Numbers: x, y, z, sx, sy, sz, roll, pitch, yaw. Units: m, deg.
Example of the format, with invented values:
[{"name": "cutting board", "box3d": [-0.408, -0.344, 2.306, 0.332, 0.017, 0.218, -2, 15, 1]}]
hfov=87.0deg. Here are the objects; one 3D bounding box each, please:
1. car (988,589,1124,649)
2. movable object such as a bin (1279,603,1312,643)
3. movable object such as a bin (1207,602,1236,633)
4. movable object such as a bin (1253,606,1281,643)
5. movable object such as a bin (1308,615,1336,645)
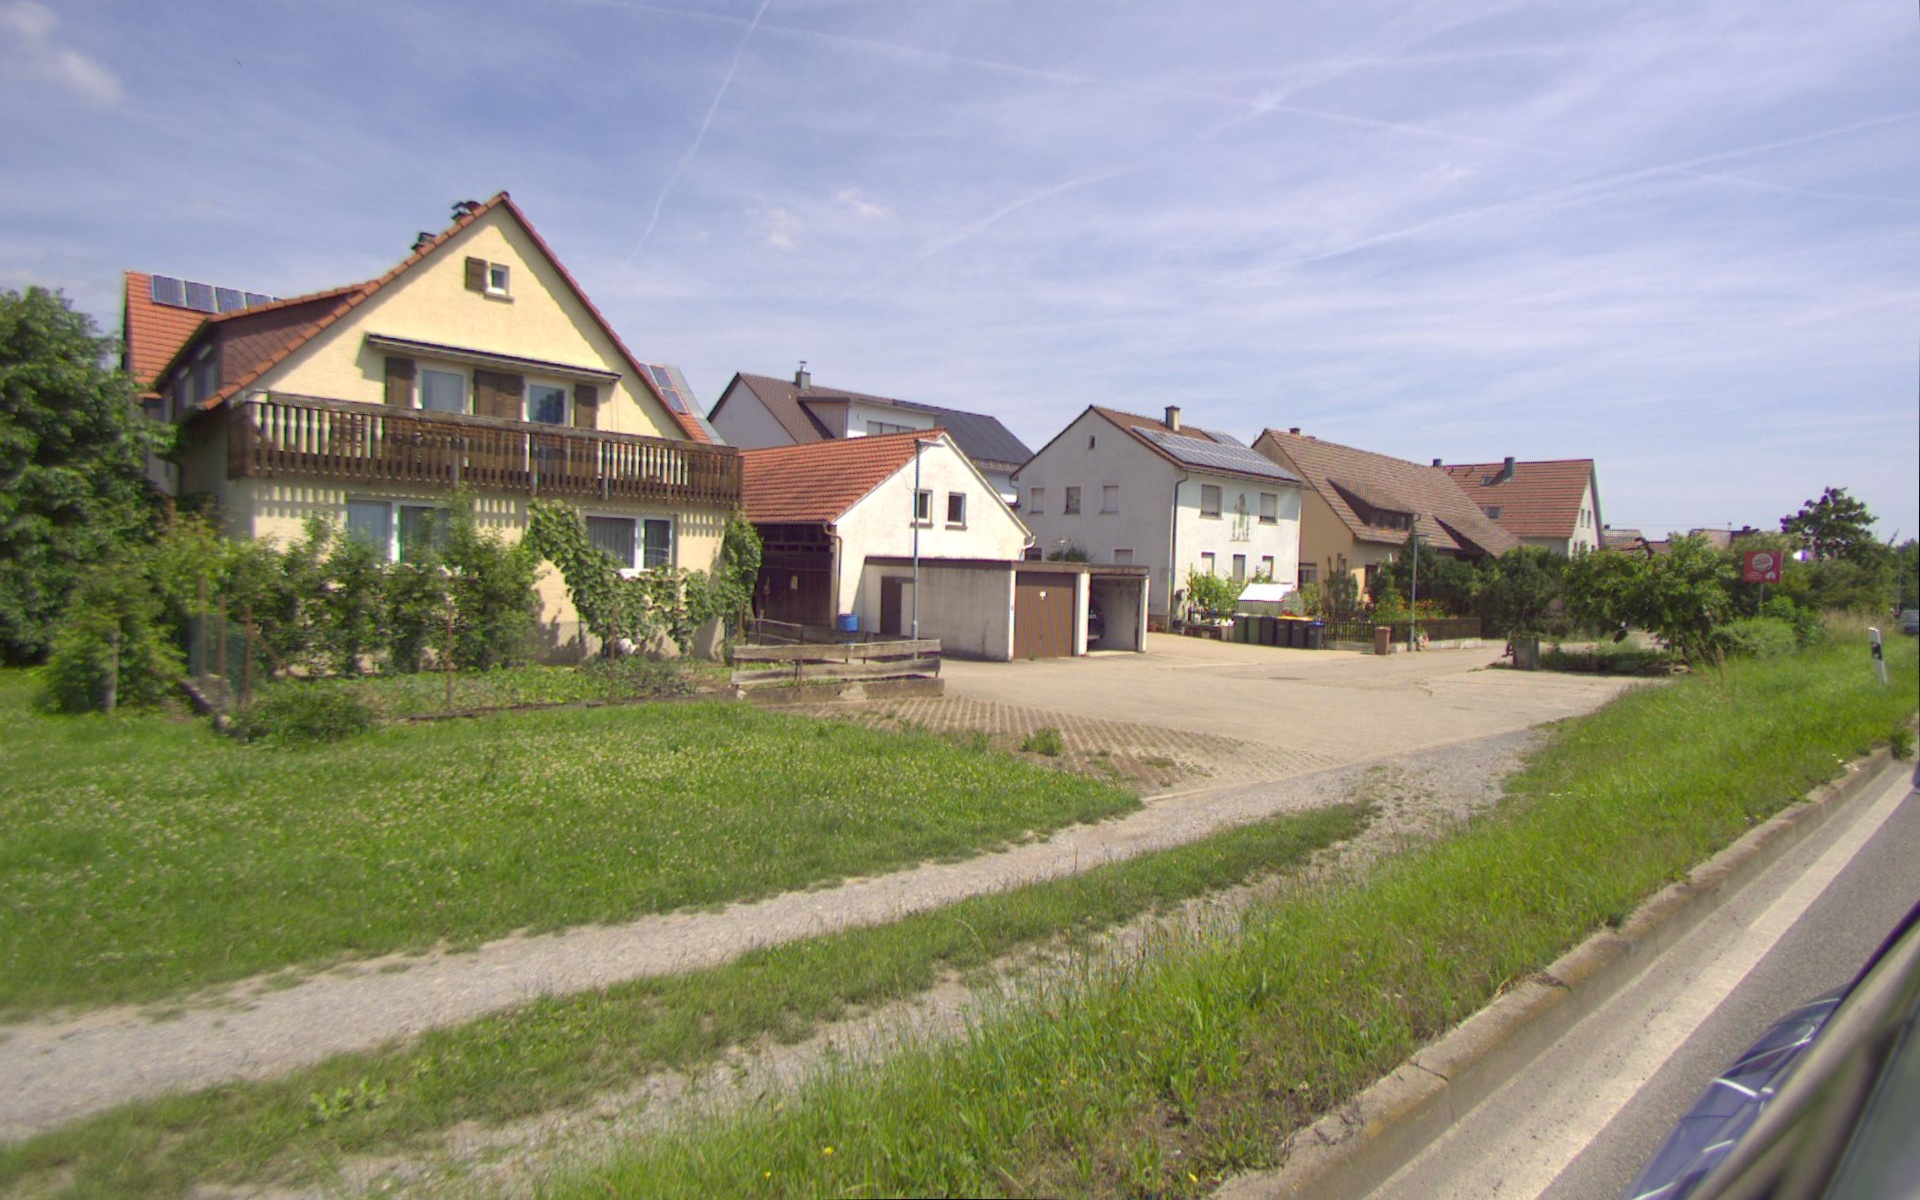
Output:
[{"name": "car", "box3d": [2.838, 0.518, 30.630, 1.794, 1.624, 3.995, 1, 1, -40]}, {"name": "movable object such as a bin", "box3d": [12.171, 0.823, 36.719, 0.930, 1.387, 0.764, 1, 0, -42]}, {"name": "movable object such as a bin", "box3d": [10.110, 0.666, 39.150, 0.816, 1.171, 0.739, 1, 0, -42]}, {"name": "movable object such as a bin", "box3d": [11.517, 0.907, 37.932, 0.806, 1.355, 0.677, 1, 0, -42]}, {"name": "movable object such as a bin", "box3d": [12.887, 1.058, 36.015, 0.743, 1.040, 0.645, 1, 0, -42]}]
